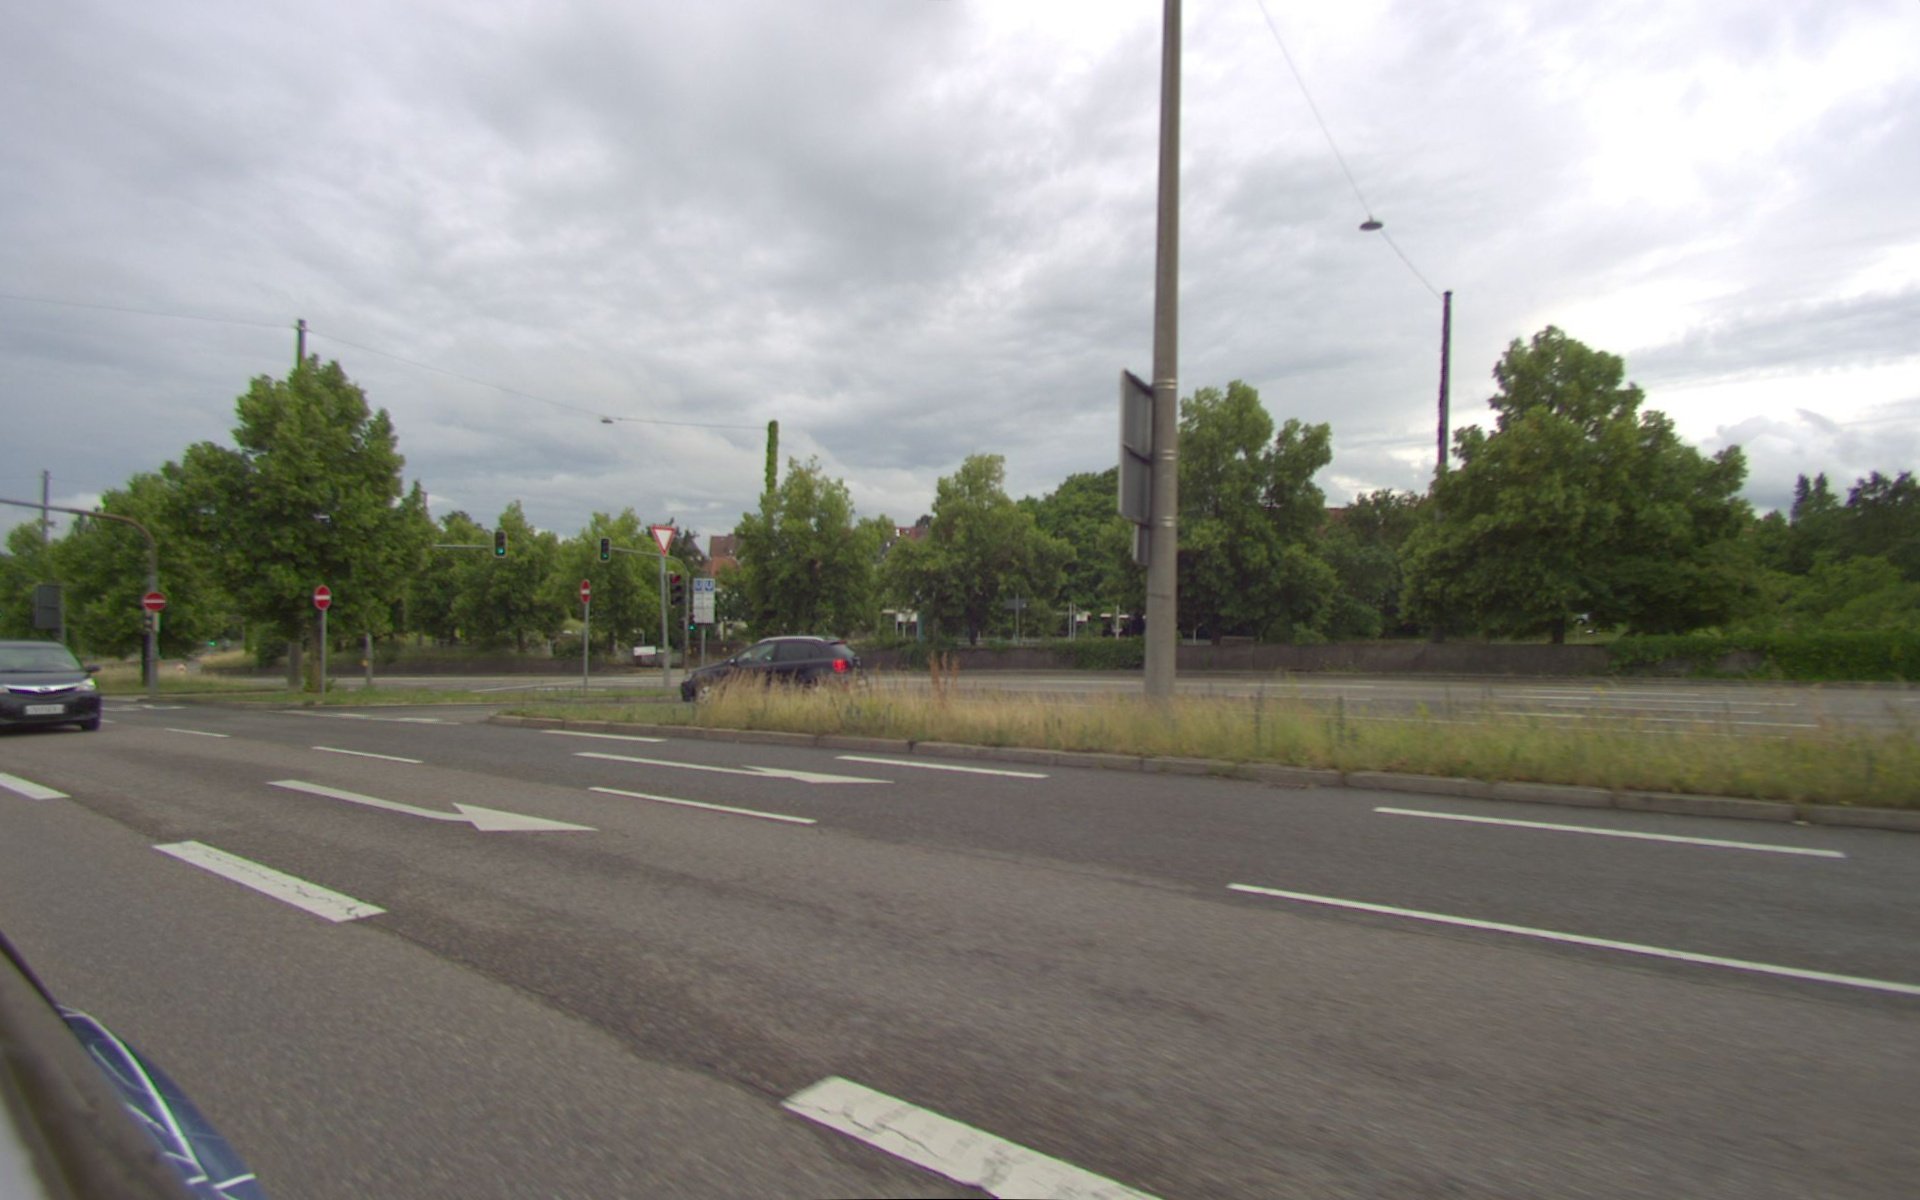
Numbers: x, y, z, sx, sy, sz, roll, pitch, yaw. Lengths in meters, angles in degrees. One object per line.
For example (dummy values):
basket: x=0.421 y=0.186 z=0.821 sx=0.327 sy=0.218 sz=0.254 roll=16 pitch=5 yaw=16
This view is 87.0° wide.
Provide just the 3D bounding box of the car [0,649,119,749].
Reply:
car: x=-16.462 y=1.683 z=17.665 sx=4.034 sy=1.578 sz=1.780 roll=-3 pitch=-4 yaw=36

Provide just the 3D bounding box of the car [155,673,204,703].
car: x=-56.905 y=6.387 z=73.807 sx=3.996 sy=2.029 sz=1.973 roll=-4 pitch=-4 yaw=40

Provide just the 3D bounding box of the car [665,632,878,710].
car: x=-3.878 y=1.472 z=21.035 sx=3.962 sy=1.519 sz=1.887 roll=-2 pitch=-3 yaw=14
